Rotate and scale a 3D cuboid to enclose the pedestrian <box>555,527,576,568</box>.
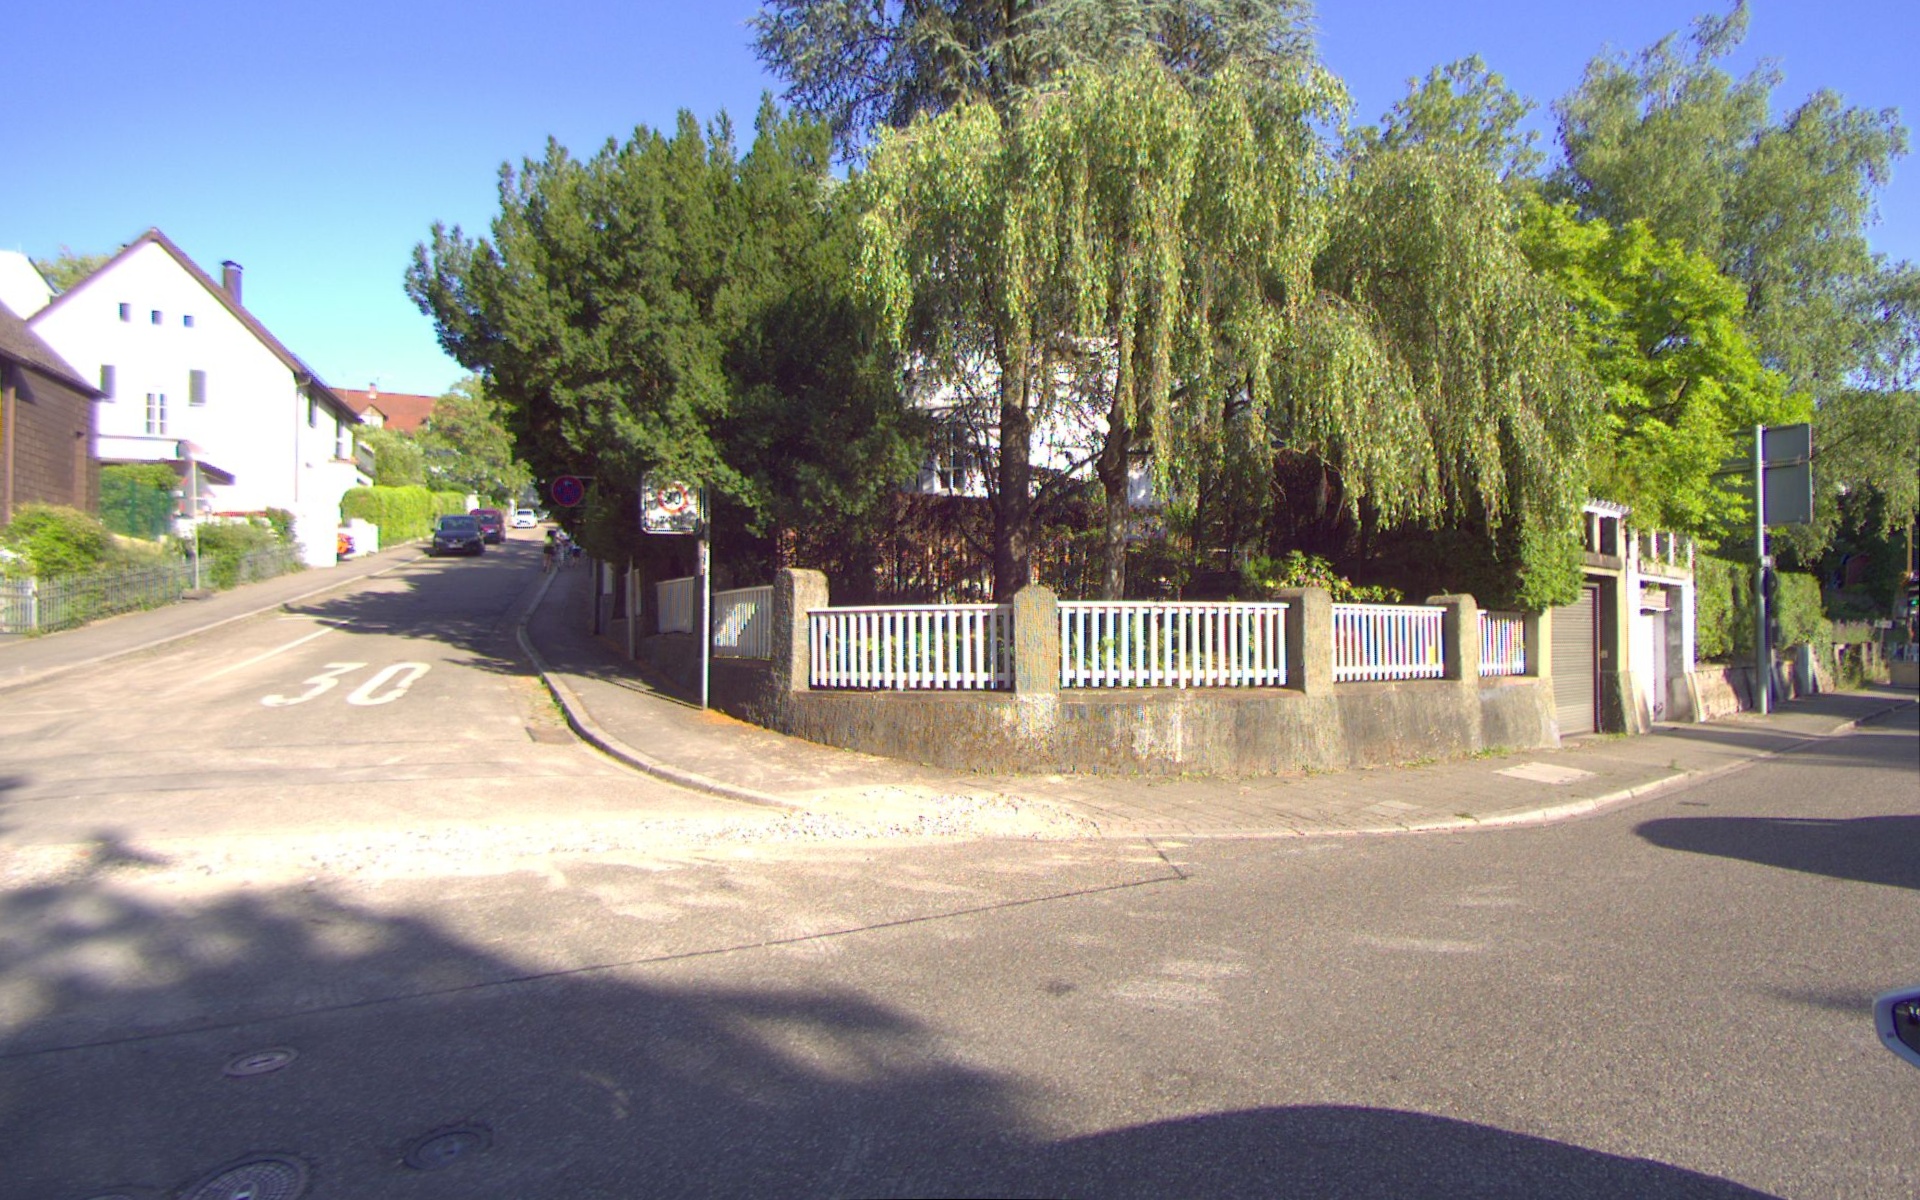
[{"bbox_3d":[-16.696,-2.218,42.463,0.765,1.664,0.689,1,0,-24],"label":"pedestrian"}]

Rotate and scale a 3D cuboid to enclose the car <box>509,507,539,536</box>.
[{"bbox_3d":[-35.062,-6.290,80.876,1.970,2.040,3.981,1,0,-20],"label":"car"}]

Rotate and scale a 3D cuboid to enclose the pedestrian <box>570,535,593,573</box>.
[{"bbox_3d":[-14.290,-1.742,37.932,0.762,1.389,0.567,1,0,-24],"label":"pedestrian"}]

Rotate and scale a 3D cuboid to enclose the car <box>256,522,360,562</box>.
[{"bbox_3d":[-23.047,-2.038,35.601,2.847,1.238,1.474,1,0,-22],"label":"car"}]

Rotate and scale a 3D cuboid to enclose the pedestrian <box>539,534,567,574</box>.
[{"bbox_3d":[-14.616,-1.660,36.090,0.767,1.389,0.563,1,0,-42],"label":"pedestrian"}]

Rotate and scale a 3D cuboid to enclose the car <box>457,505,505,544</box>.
[{"bbox_3d":[-25.289,-3.950,53.114,1.971,1.729,3.979,1,0,-21],"label":"car"}]

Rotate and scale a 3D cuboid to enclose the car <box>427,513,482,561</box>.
[{"bbox_3d":[-21.448,-2.701,42.736,1.973,1.729,3.973,1,6,-26],"label":"car"}]
